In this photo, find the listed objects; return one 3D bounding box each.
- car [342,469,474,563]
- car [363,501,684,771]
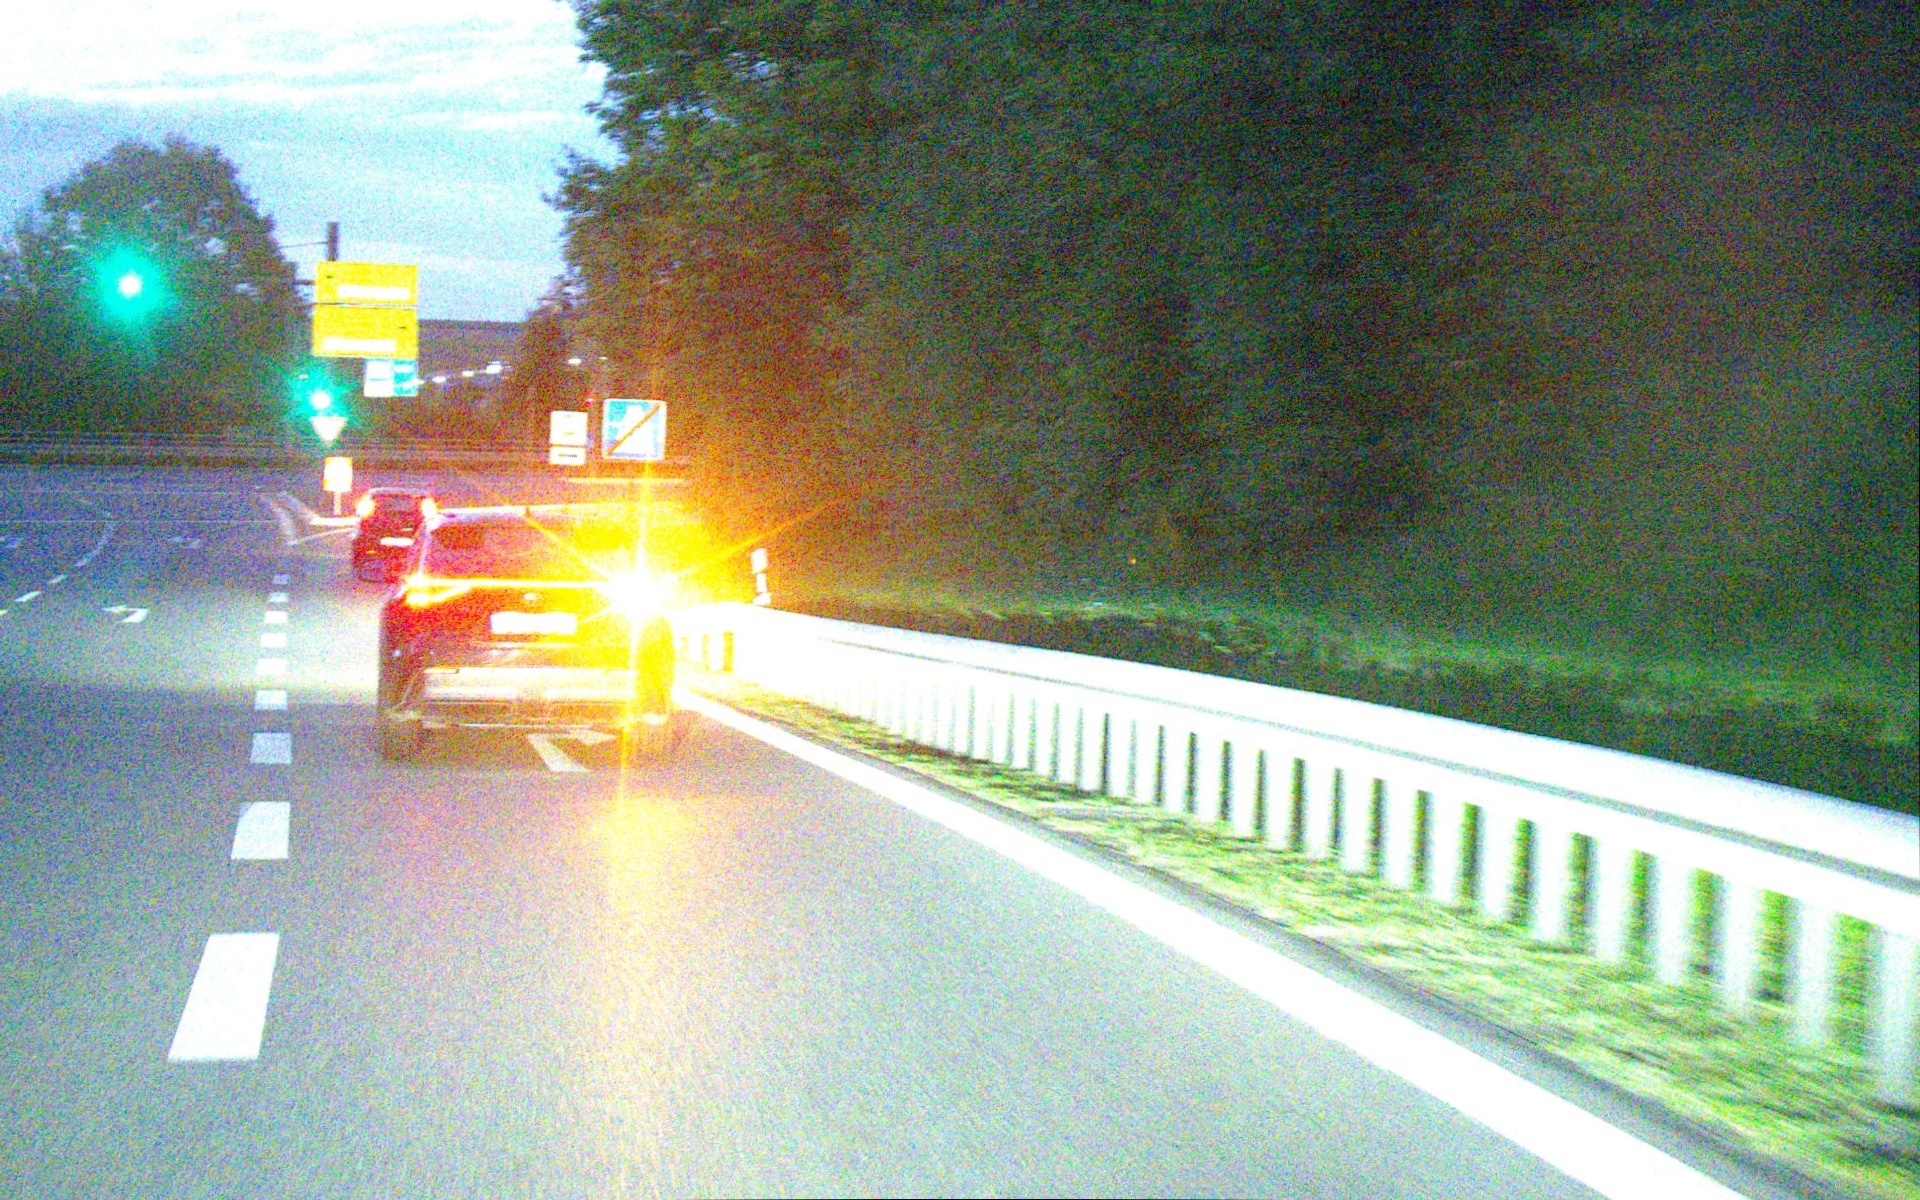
[{"bbox_3d":[-10.258,-1.541,64.165,1.781,1.647,4.000,1,0,0],"label":"car"},{"bbox_3d":[-3.041,0.177,23.184,1.900,1.614,4.558,1,1,-10],"label":"car"}]
